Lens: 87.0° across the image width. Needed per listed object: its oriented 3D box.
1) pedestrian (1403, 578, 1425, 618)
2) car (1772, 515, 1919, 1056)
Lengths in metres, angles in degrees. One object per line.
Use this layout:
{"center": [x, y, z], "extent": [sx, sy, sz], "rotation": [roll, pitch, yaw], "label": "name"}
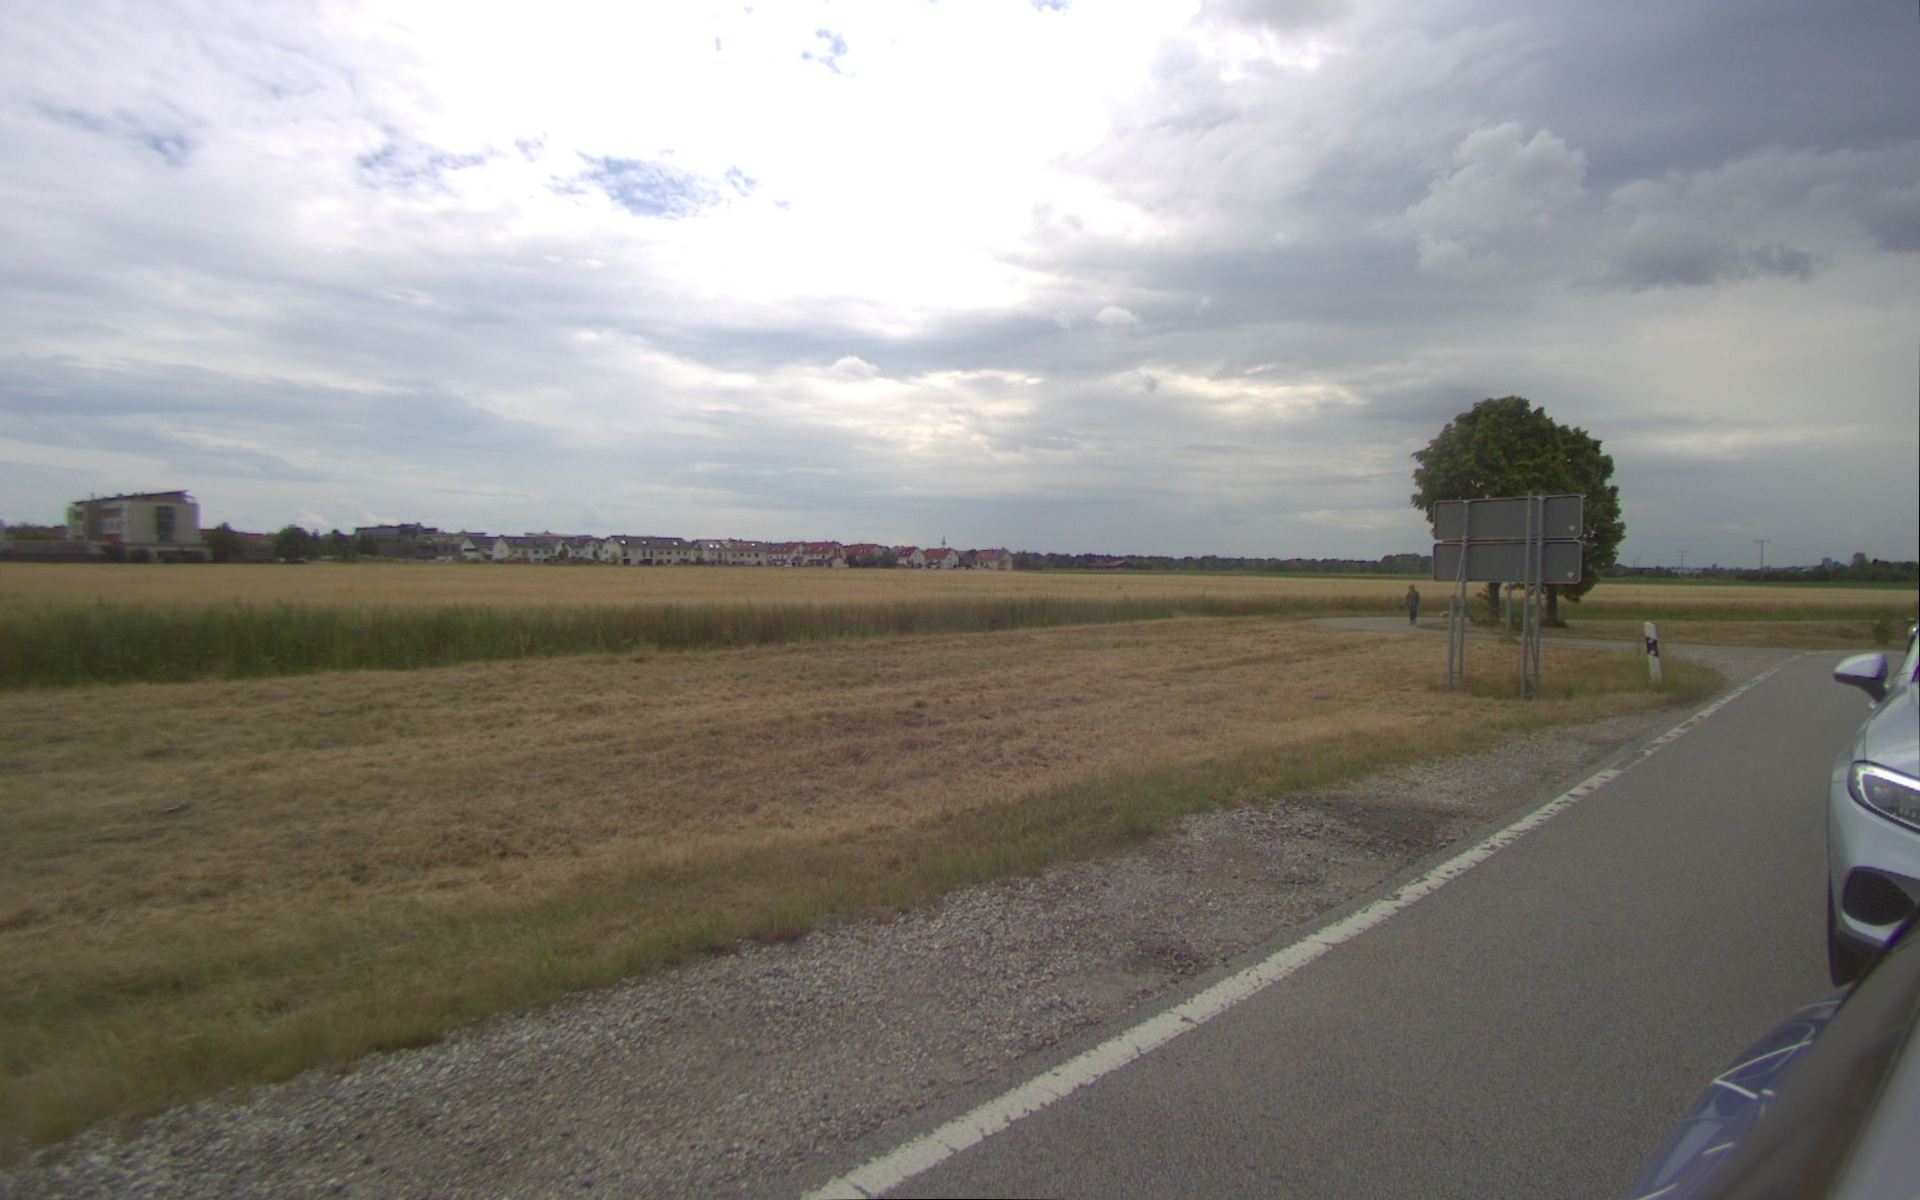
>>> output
{"center": [18.898, -0.098, 42.090], "extent": [0.766, 1.631, 0.937], "rotation": [2, 2, 26], "label": "pedestrian"}
{"center": [4.852, 0.510, 4.000], "extent": [4.321, 1.606, 1.992], "rotation": [-1, 1, -43], "label": "car"}
